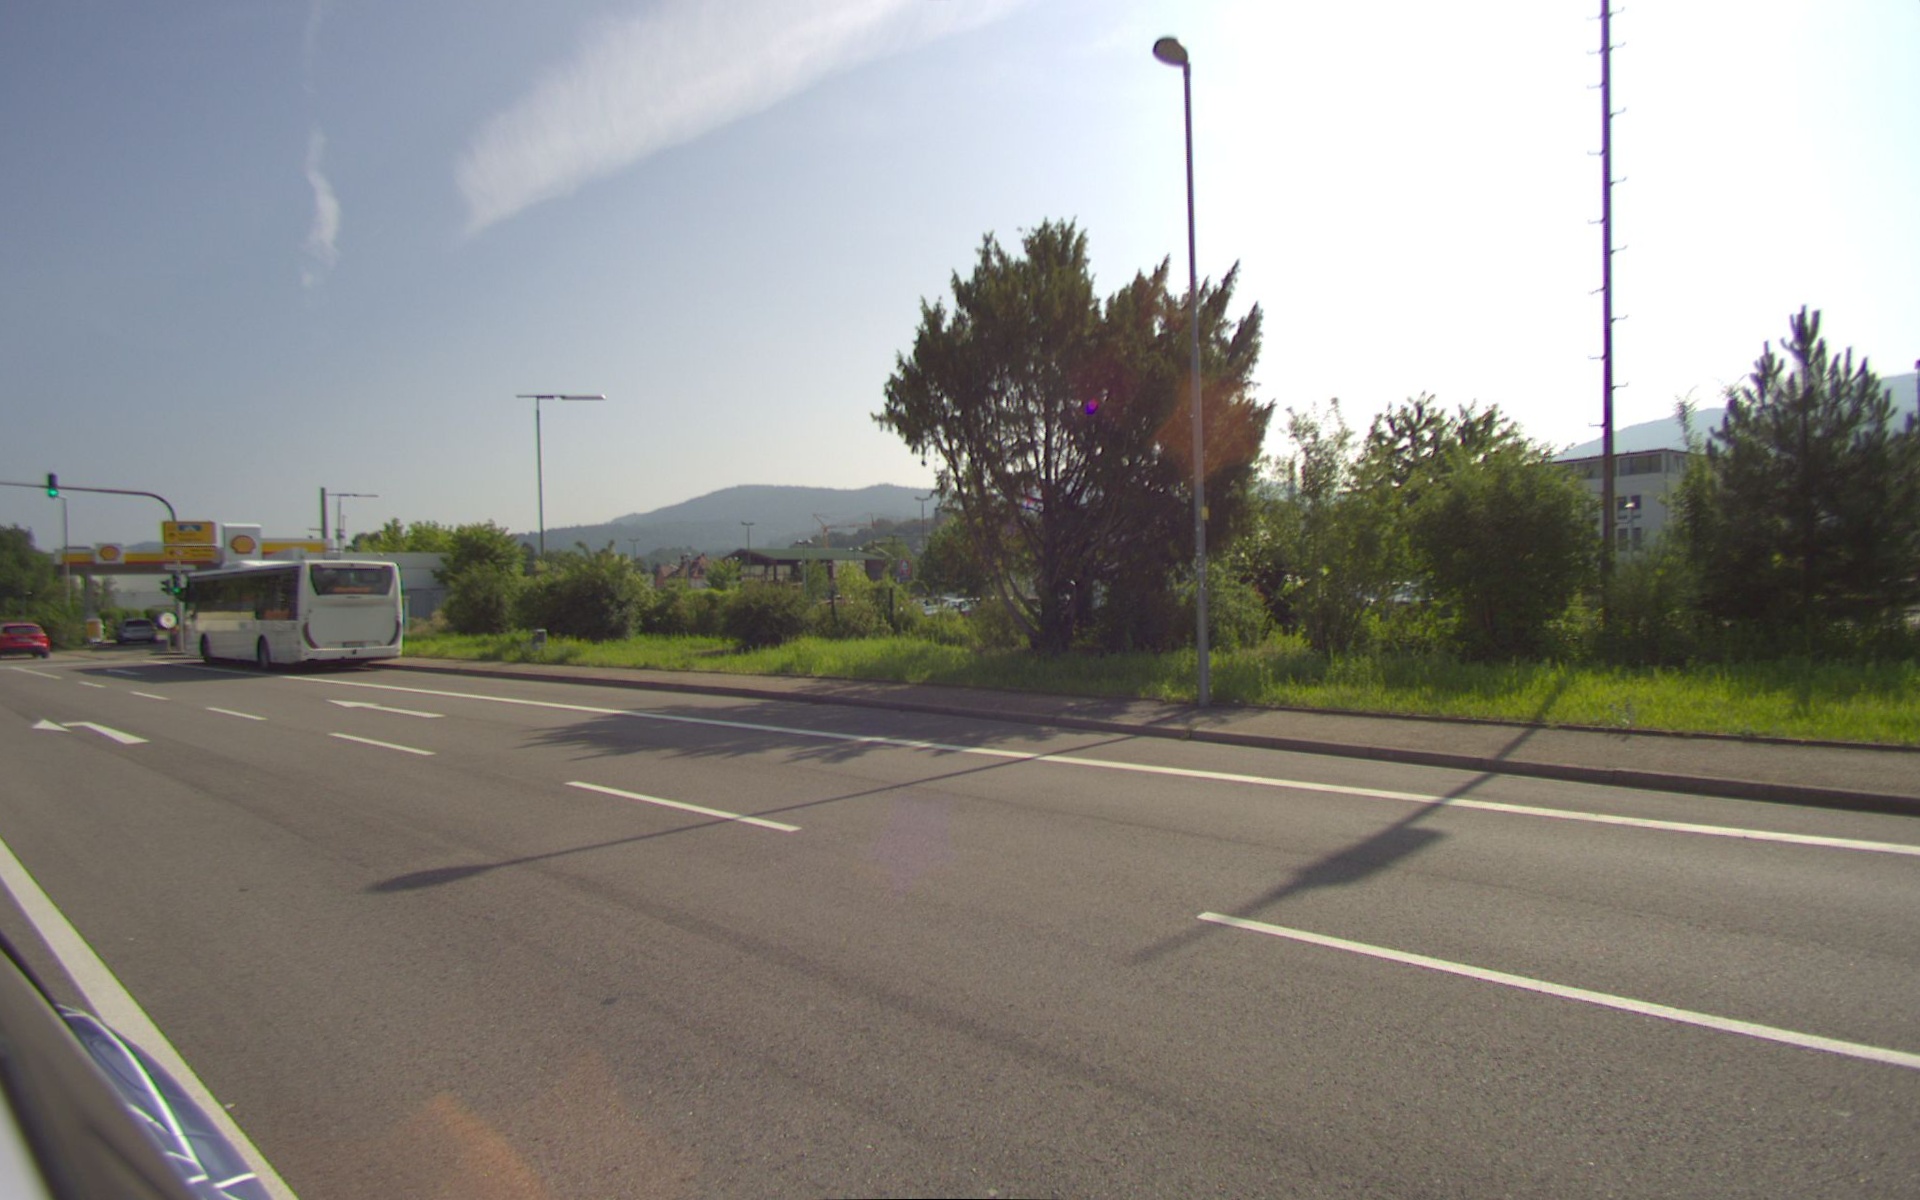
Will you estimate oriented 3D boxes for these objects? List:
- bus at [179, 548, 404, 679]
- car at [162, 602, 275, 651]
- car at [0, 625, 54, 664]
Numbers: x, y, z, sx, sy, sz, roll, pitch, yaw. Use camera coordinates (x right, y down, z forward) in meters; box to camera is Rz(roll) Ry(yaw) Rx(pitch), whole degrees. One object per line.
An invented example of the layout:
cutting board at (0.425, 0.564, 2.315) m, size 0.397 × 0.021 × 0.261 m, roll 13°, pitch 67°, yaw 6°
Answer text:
bus at (-20.659, 0.436, 30.781) m, size 11.950 × 3.335 × 2.593 m, roll -1°, pitch -1°, yaw 41°
car at (-32.848, 1.162, 44.888) m, size 3.732 × 1.809 × 1.703 m, roll -6°, pitch 3°, yaw -44°
car at (-39.673, 1.831, 42.567) m, size 4.429 × 1.503 × 1.818 m, roll -1°, pitch -1°, yaw 41°
